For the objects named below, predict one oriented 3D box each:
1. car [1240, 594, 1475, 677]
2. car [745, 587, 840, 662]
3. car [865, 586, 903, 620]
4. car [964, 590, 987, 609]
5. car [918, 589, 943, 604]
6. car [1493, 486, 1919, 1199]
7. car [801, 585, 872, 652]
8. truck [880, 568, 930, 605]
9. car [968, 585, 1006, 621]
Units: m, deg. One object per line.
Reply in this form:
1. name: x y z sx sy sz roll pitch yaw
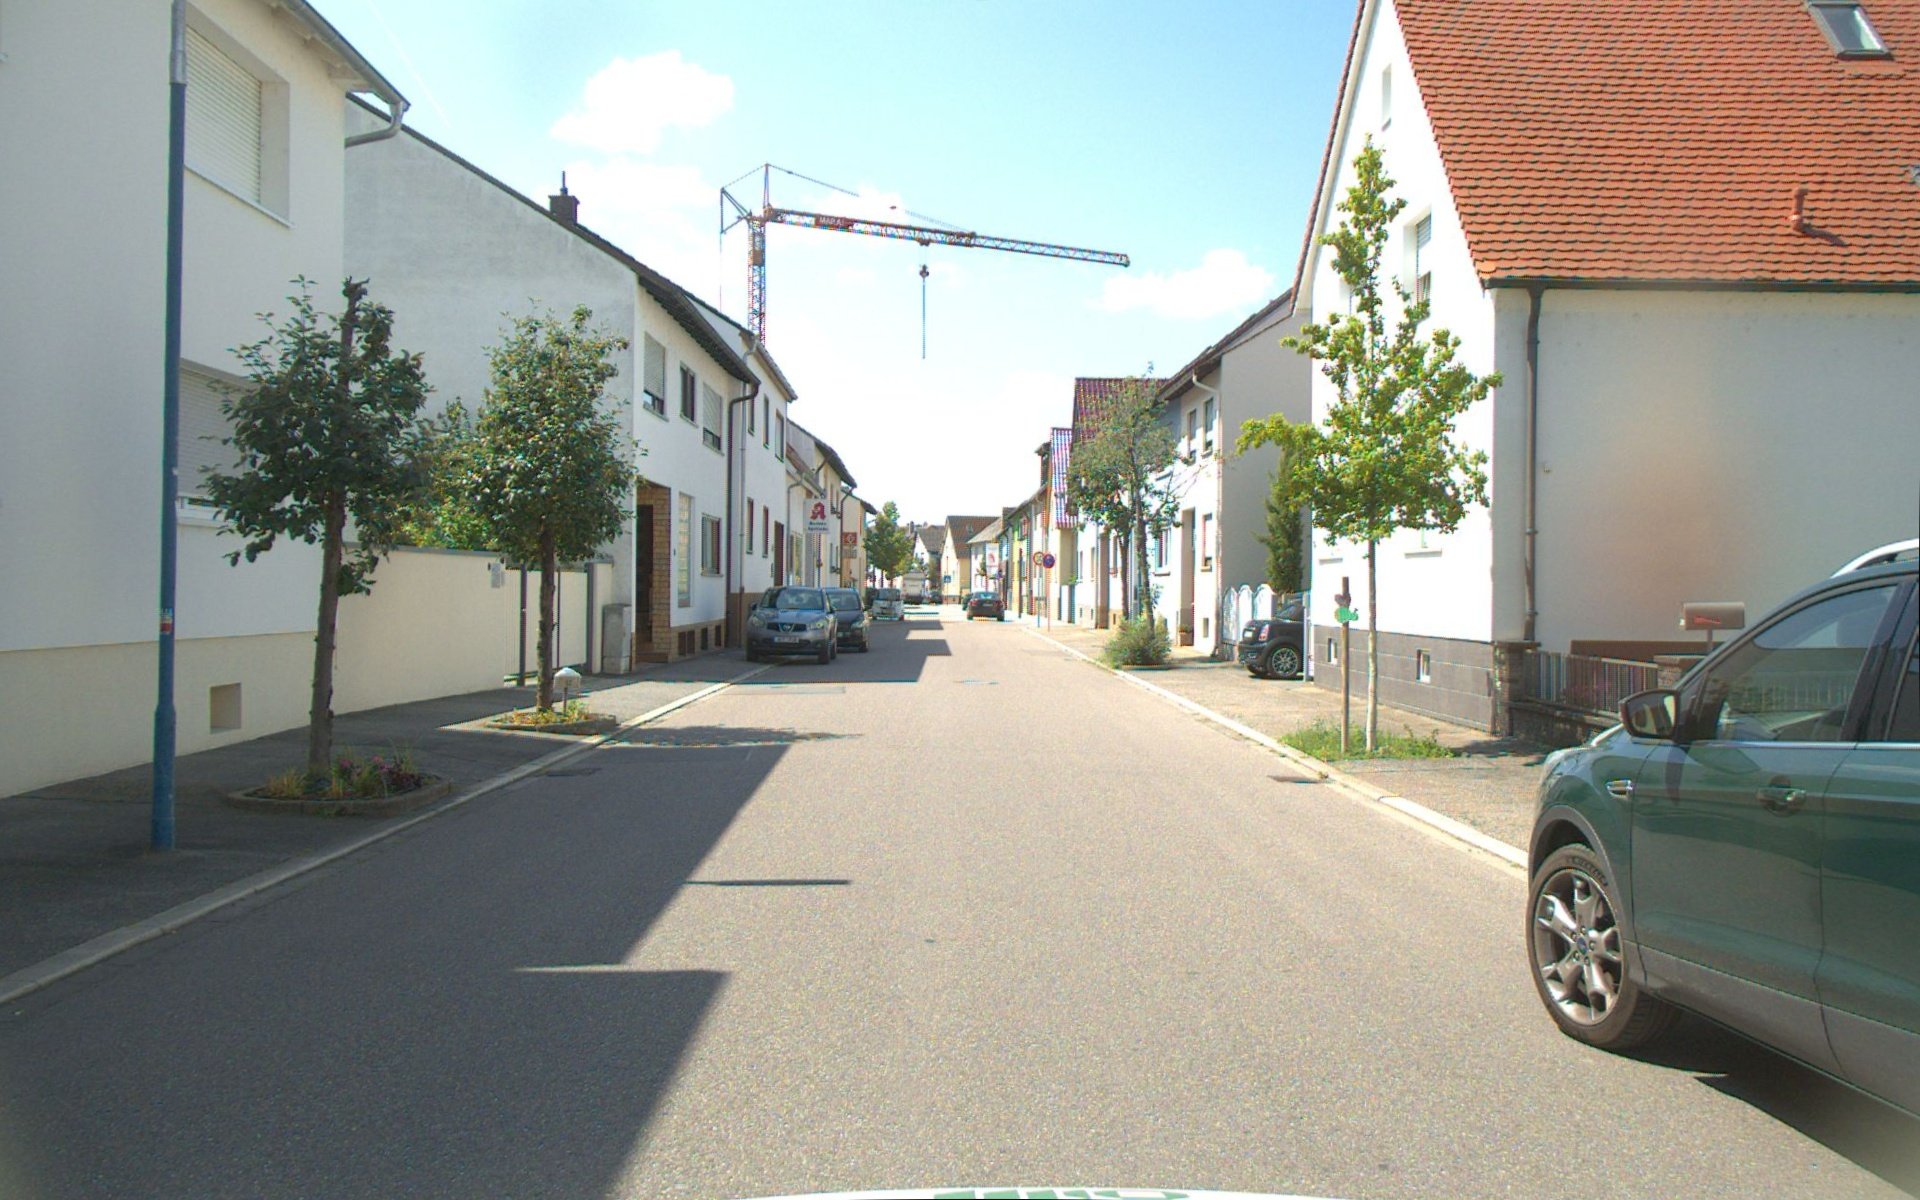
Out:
1. car: 7.125 0.617 29.883 3.842 1.439 1.740 0 0 0
2. car: -3.602 0.492 36.157 1.723 1.551 4.288 0 0 -1
3. car: -3.738 0.135 82.032 1.688 1.583 4.172 2 0 0
4. car: 1.295 -0.035 142.112 1.747 1.591 4.334 0 0 -3
5. car: -3.353 -0.386 189.122 1.755 1.784 4.208 0 0 -17
6. car: 3.028 0.614 4.348 1.694 1.747 4.273 0 0 -3
7. car: -3.146 0.443 42.627 1.620 1.637 4.060 0 0 -1
8. truck: -6.207 -1.448 183.175 3.319 3.933 13.886 0 0 -11
9. car: 1.332 0.140 84.097 1.747 1.784 3.999 0 0 -2
